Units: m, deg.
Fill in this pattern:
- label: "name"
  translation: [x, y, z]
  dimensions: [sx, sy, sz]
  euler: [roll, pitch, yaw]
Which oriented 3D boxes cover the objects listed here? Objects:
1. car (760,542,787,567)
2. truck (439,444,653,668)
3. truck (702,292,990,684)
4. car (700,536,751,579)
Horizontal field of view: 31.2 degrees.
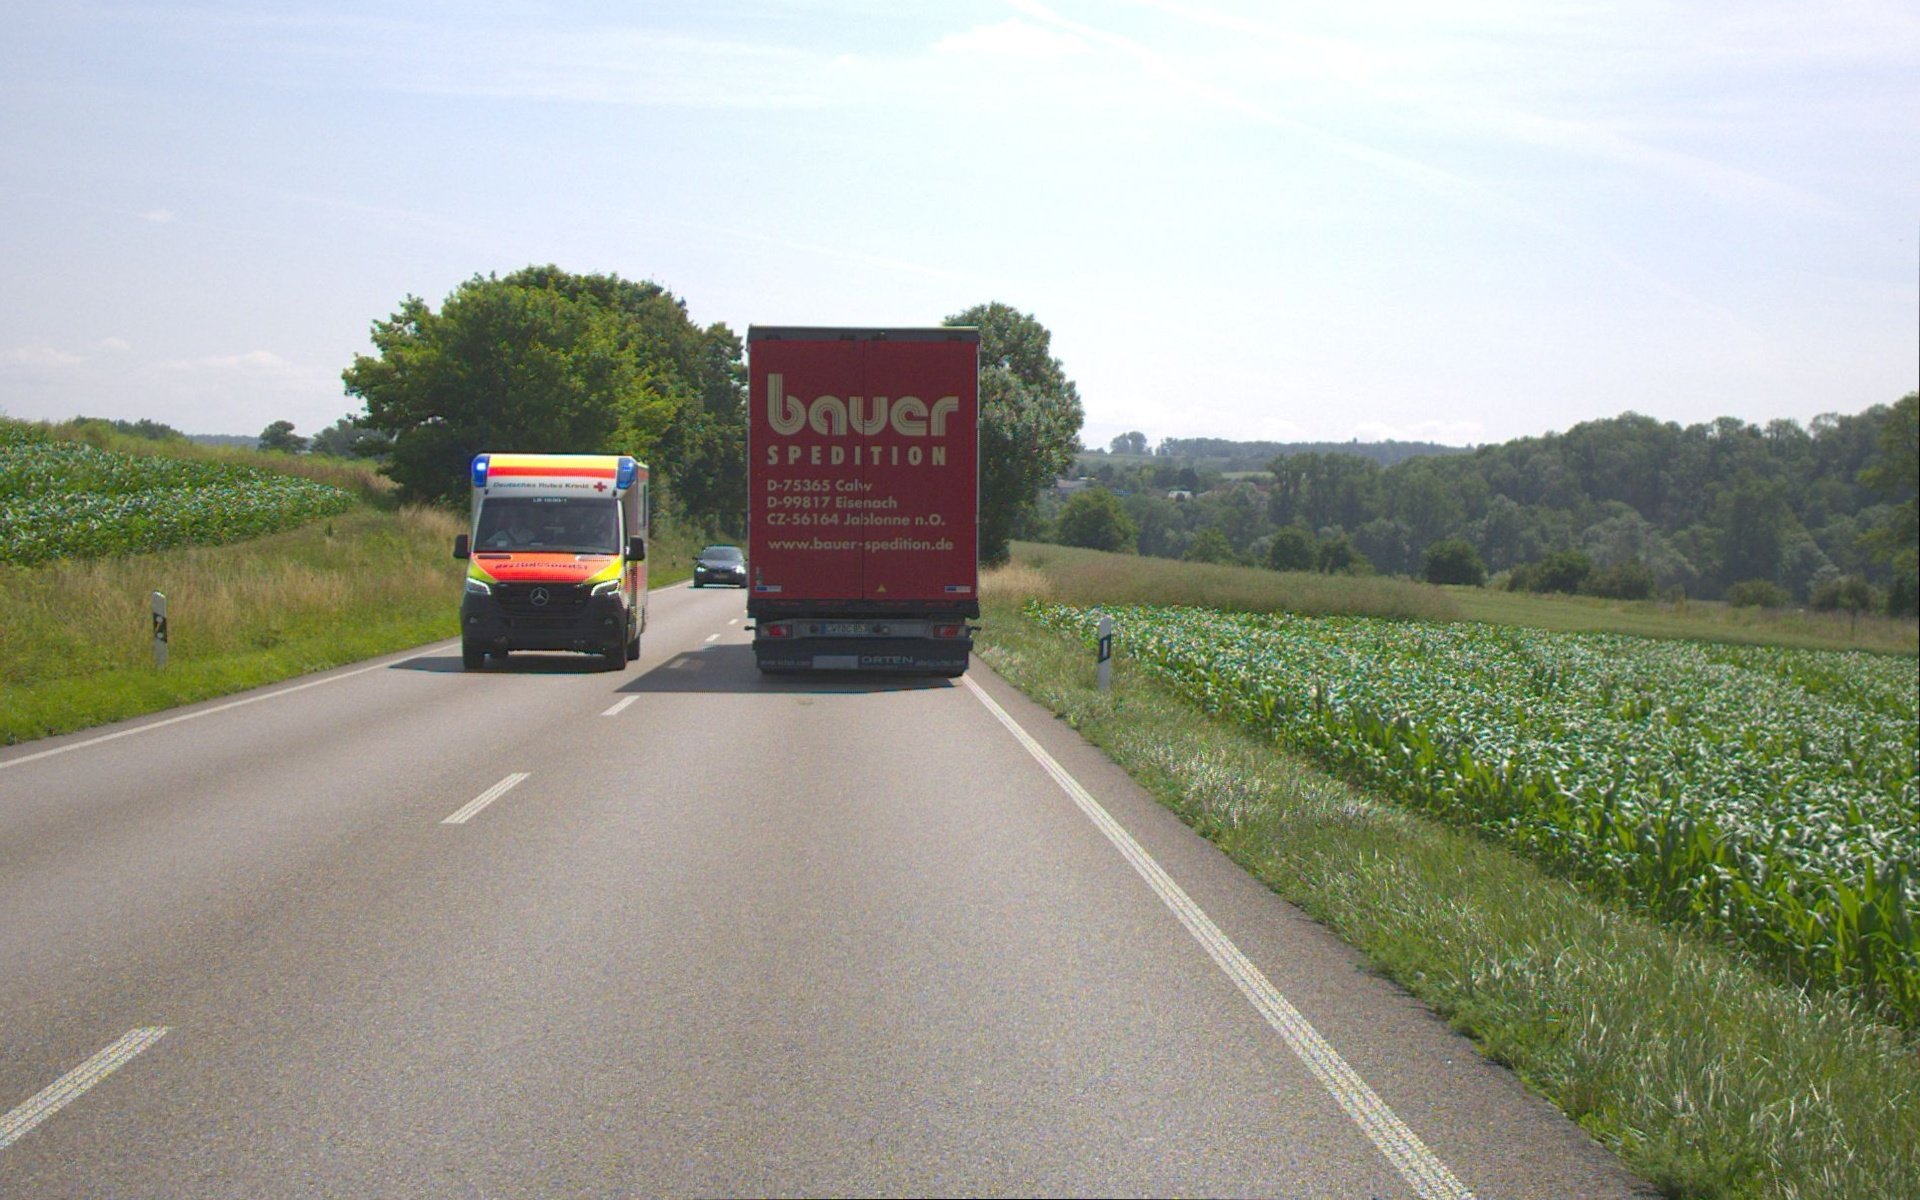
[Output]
- label: "car"
  translation: [-12.171, -2.962, 224.504]
  dimensions: [1.656, 1.529, 4.358]
  euler: [2, 1, -2]
- label: "truck"
  translation: [-5.205, -0.554, 44.053]
  dimensions: [2.207, 2.663, 6.417]
  euler: [0, 1, -2]
- label: "truck"
  translation: [-1.260, -1.237, 41.611]
  dimensions: [3.094, 4.248, 8.314]
  euler: [0, 0, 0]
- label: "car"
  translation: [-8.310, -1.526, 121.932]
  dimensions: [1.673, 1.452, 4.351]
  euler: [1, 1, -2]
